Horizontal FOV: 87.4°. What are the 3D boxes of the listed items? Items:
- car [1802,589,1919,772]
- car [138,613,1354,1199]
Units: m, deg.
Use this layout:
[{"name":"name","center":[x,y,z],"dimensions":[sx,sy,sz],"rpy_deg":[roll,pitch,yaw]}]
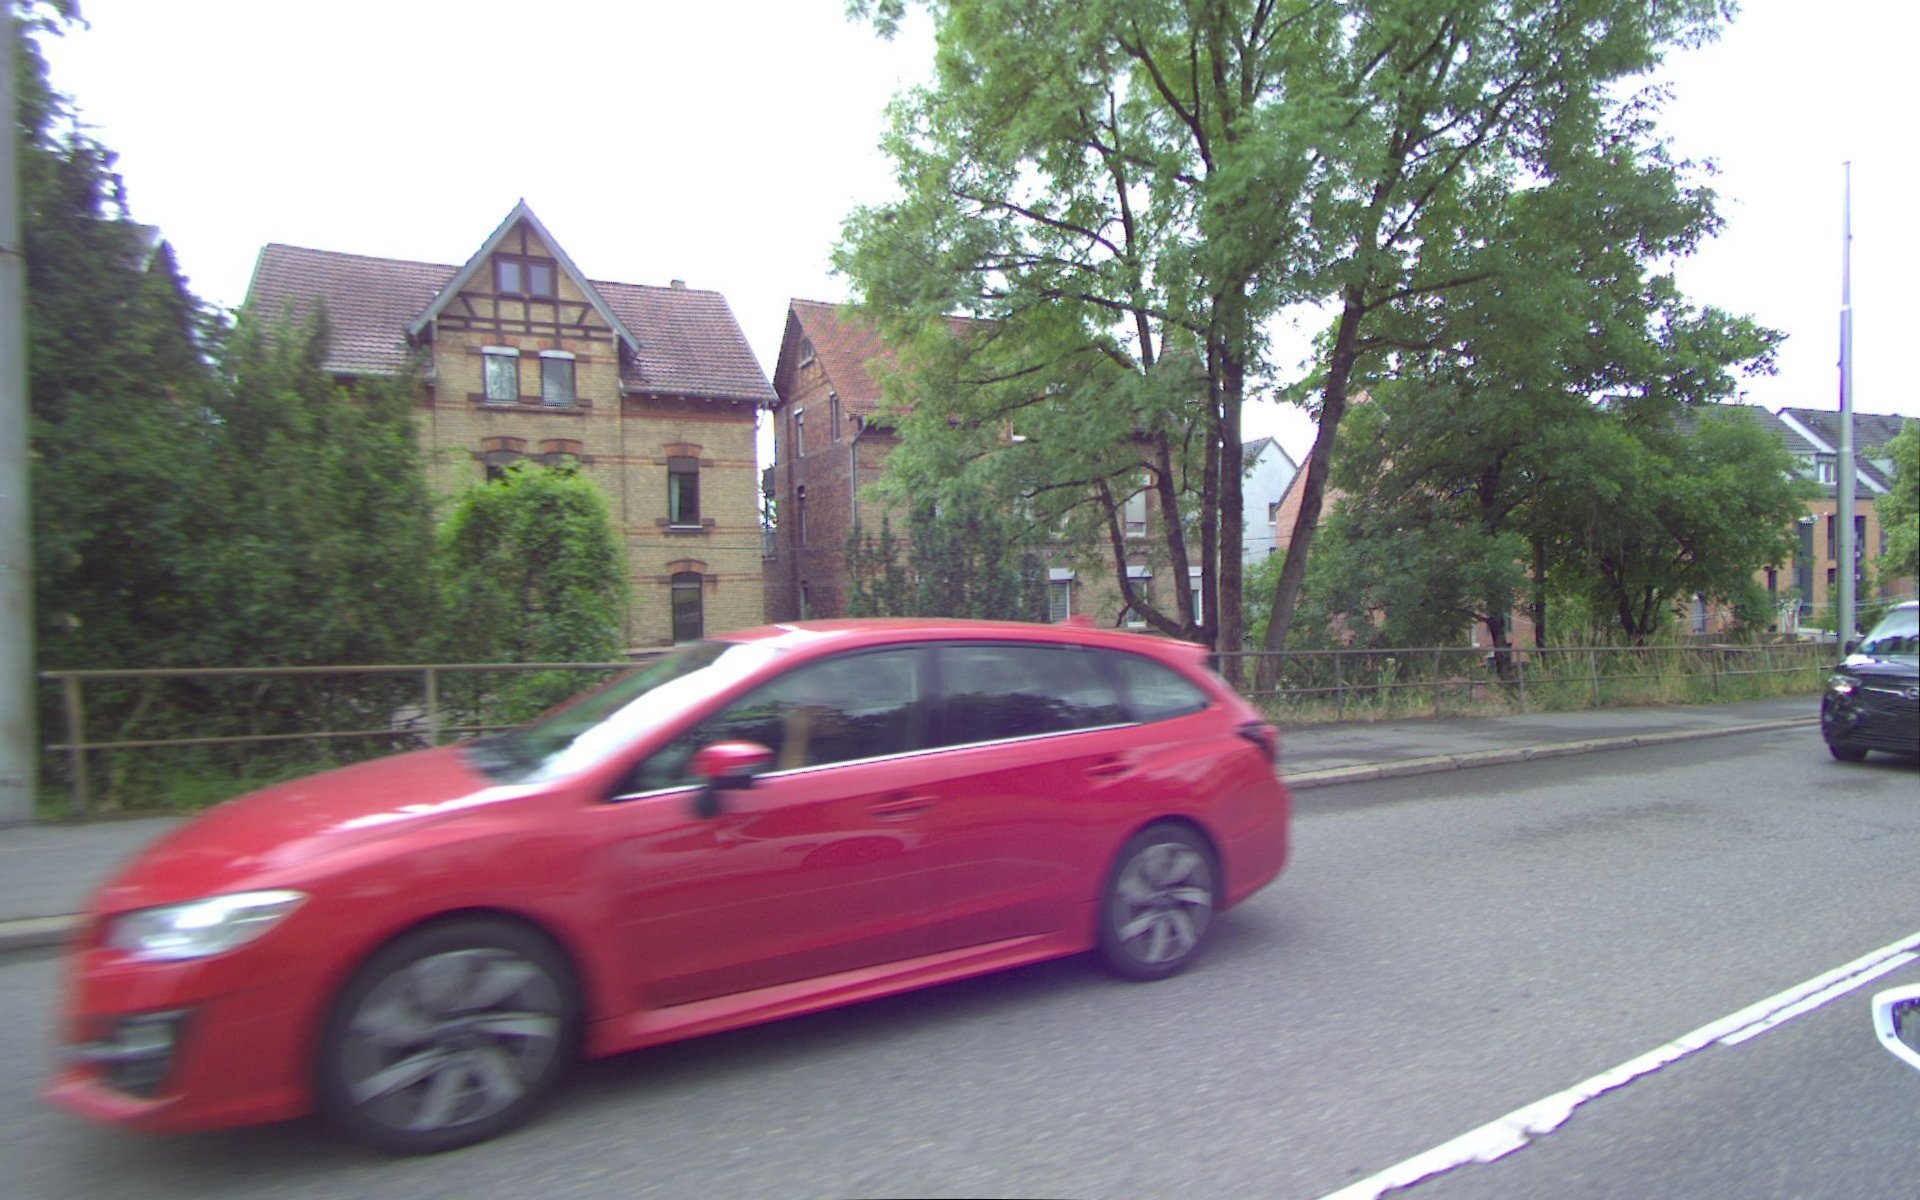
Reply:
[{"name":"car","center":[11.142,0.799,10.922],"dimensions":[4.379,1.769,1.774],"rpy_deg":[1,-1,-32]},{"name":"car","center":[-0.505,0.802,4.277],"dimensions":[4.377,1.478,1.775],"rpy_deg":[1,-1,-31]}]
